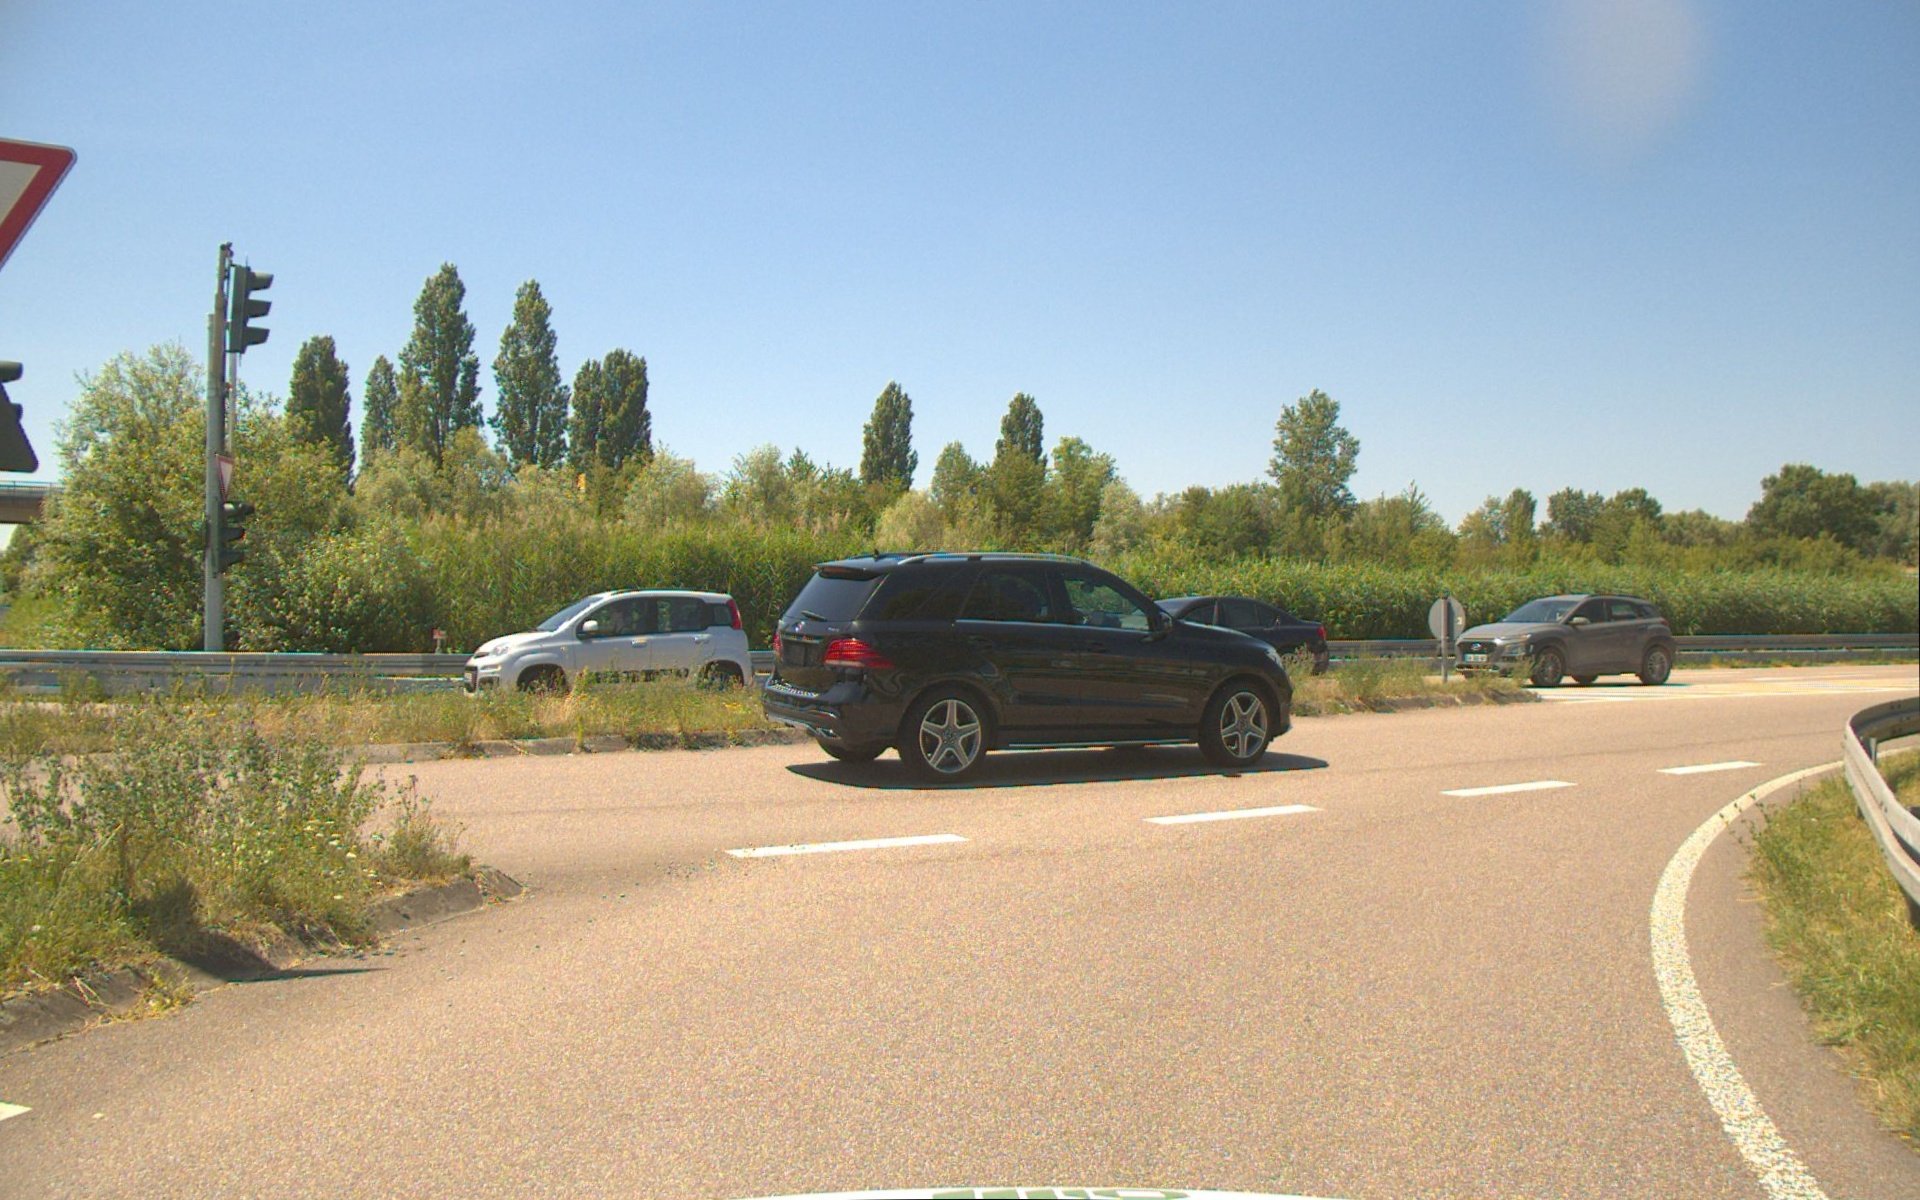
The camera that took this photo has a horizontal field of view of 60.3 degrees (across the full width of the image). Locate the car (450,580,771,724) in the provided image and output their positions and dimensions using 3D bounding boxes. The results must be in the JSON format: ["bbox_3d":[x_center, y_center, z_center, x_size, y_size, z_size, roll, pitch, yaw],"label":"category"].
[{"bbox_3d":[-4.429,0.600,21.014,3.666,1.660,1.718,-1,0,-29],"label":"car"}]

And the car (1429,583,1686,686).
[{"bbox_3d":[10.423,0.555,28.826,4.175,1.660,1.916,-1,0,-28],"label":"car"}]

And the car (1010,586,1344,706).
[{"bbox_3d":[3.353,0.642,25.344,4.866,1.660,1.917,-1,0,-27],"label":"car"}]

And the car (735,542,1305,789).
[{"bbox_3d":[0.558,0.485,14.039,4.533,1.798,1.915,0,0,-30],"label":"car"}]
